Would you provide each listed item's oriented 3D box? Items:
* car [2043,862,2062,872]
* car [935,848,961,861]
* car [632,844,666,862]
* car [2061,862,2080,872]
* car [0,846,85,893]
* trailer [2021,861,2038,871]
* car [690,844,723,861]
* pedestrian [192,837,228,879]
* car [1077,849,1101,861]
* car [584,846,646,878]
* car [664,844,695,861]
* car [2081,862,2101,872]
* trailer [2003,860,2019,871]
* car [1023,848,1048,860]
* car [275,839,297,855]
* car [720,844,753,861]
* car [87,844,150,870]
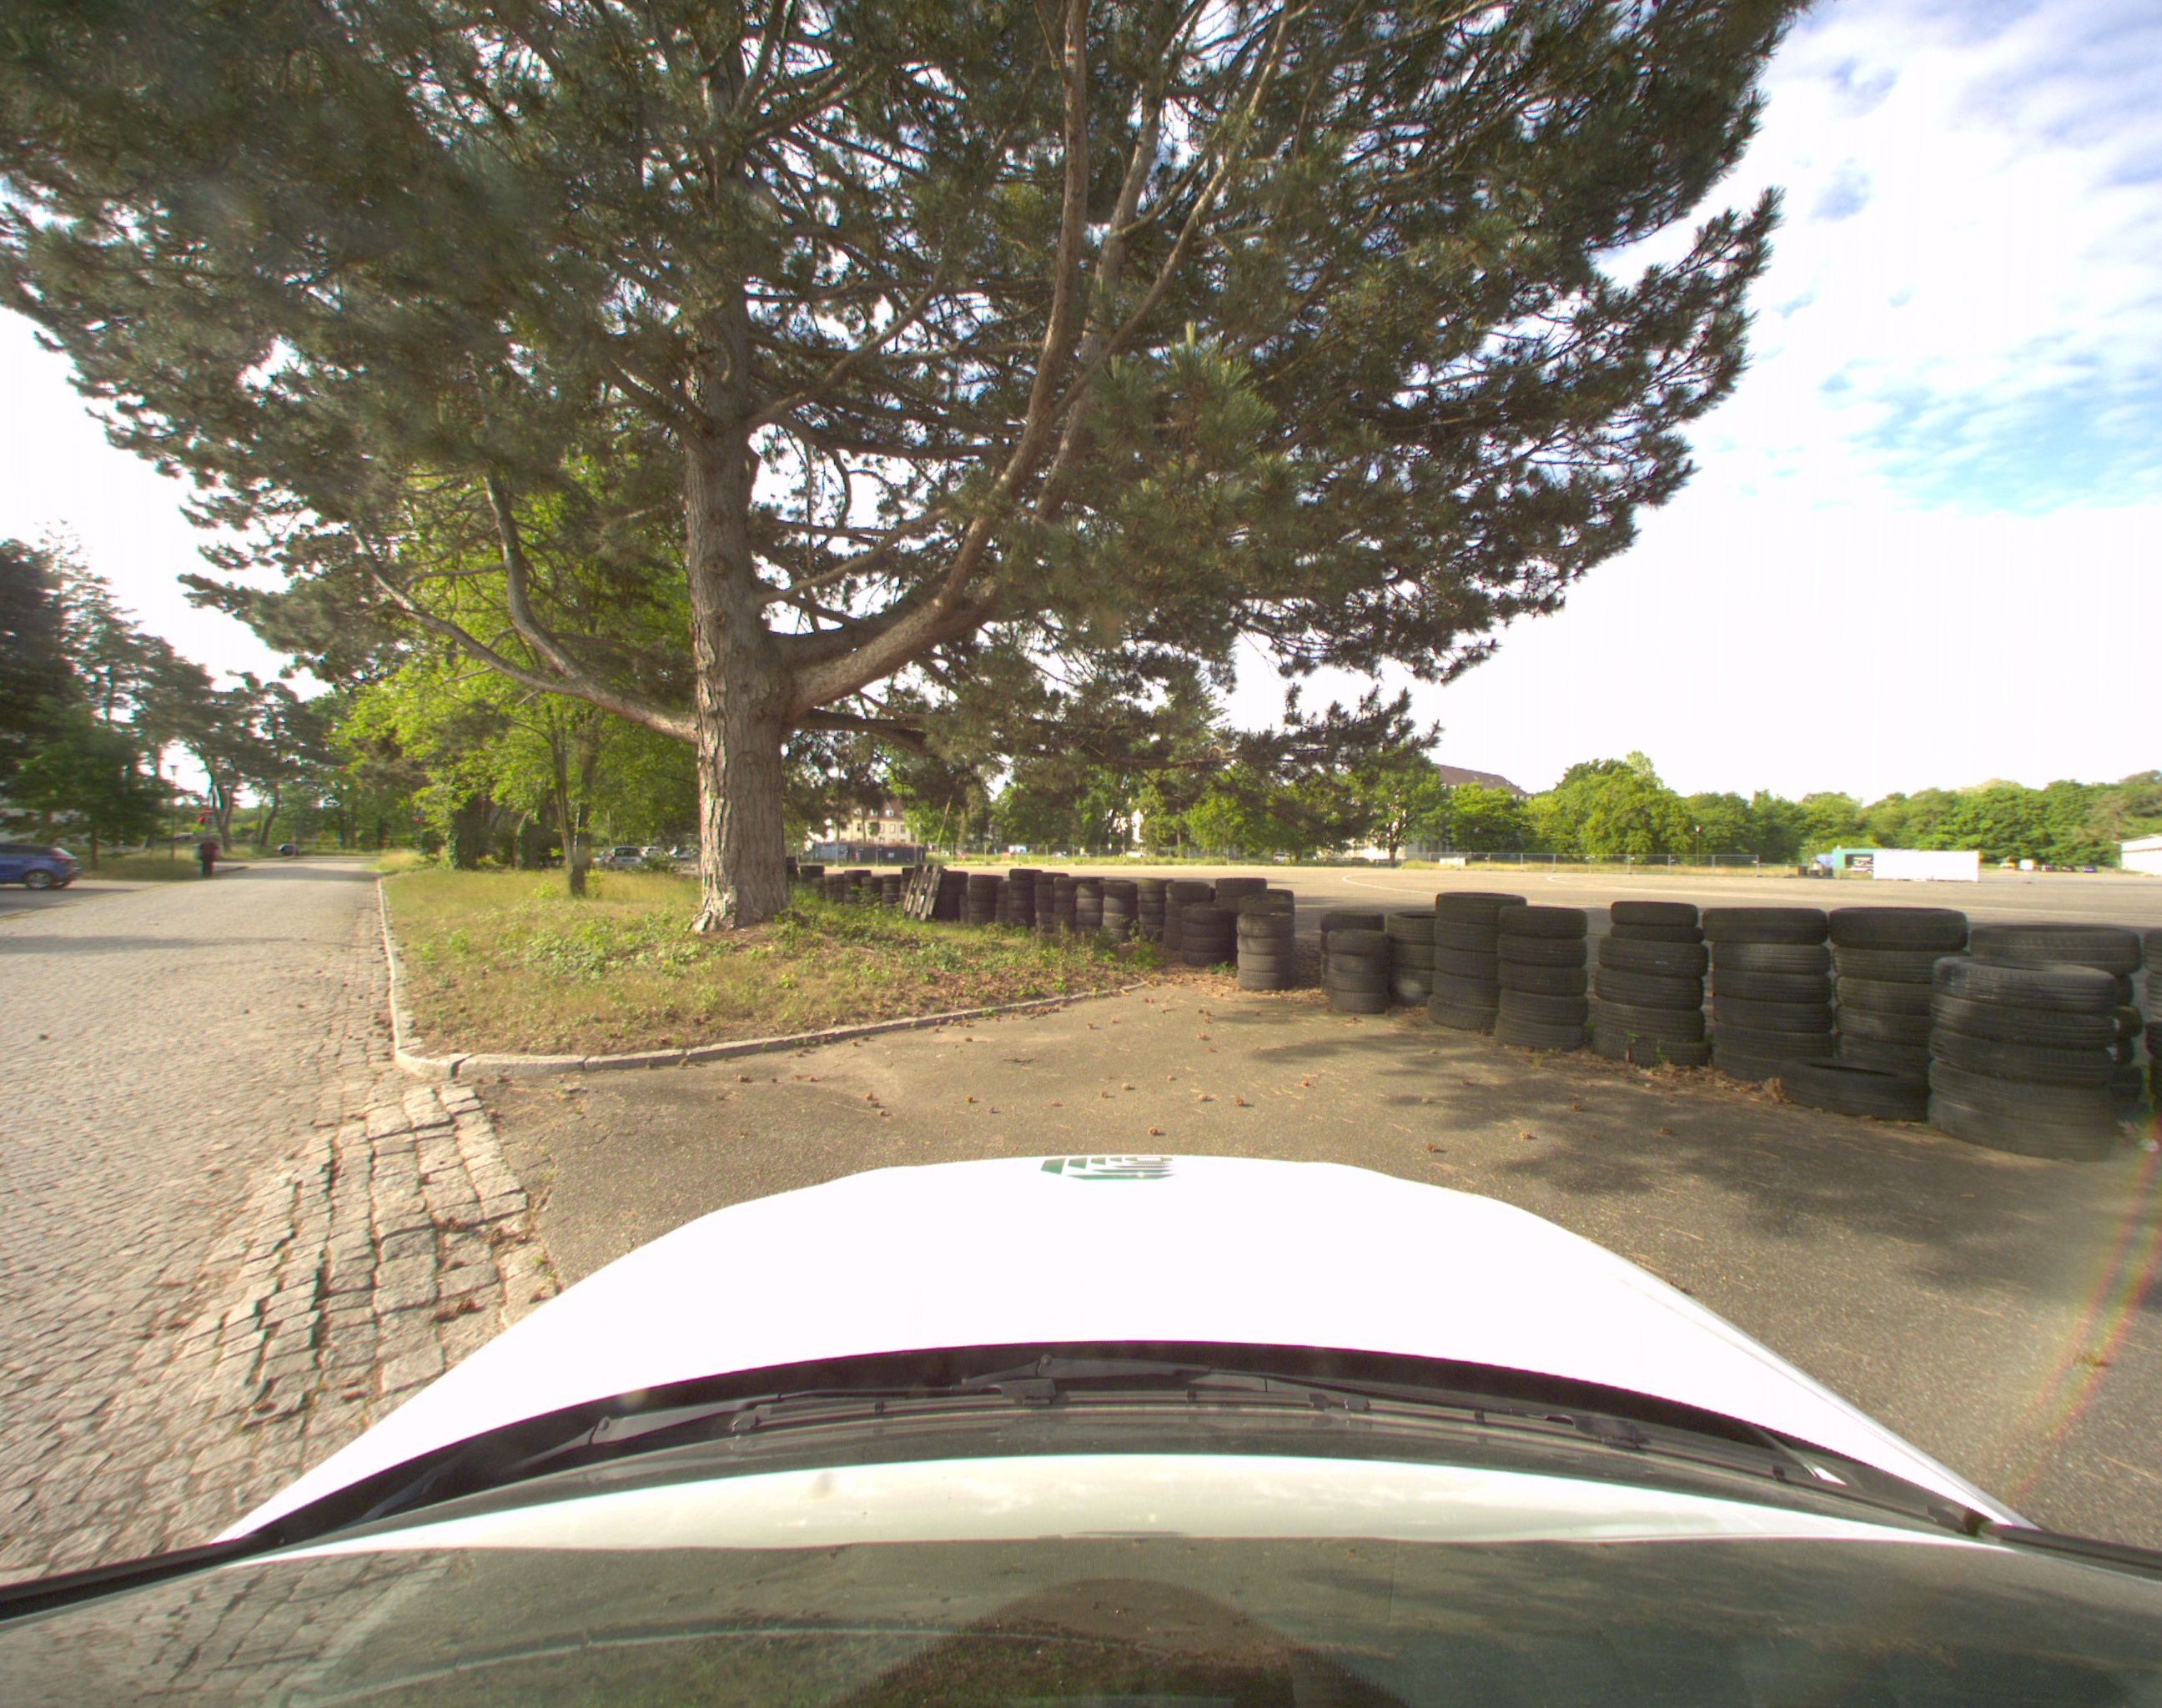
[{"bbox_3d":[189.579,2.512,158.929,4.023,1.750,1.975,1,0,-45],"label":"car"},{"bbox_3d":[-18.157,0.001,111.210,2.009,1.750,3.956,0,0,-36],"label":"car"},{"bbox_3d":[-40.449,-0.134,76.178,2.010,1.618,3.953,0,0,-41],"label":"car"},{"bbox_3d":[191.216,2.502,157.375,4.023,1.808,2.013,0,0,-45],"label":"car"},{"bbox_3d":[-34.112,0.470,25.820,1.473,1.450,3.112,0,0,43],"label":"car"},{"bbox_3d":[188.912,2.366,162.163,4.022,2.013,2.040,1,0,-43],"label":"trailer"},{"bbox_3d":[-36.838,-0.145,80.064,2.010,1.618,3.953,0,0,-41],"label":"car"},{"bbox_3d":[-39.035,0.159,36.482,0.943,1.844,0.965,0,0,35],"label":"pedestrian"},{"bbox_3d":[1.303,0.176,127.949,2.007,1.750,3.961,0,0,-31],"label":"car"},{"bbox_3d":[-23.789,0.369,41.548,1.903,1.541,3.952,1,0,-43],"label":"car"},{"bbox_3d":[-38.572,-0.122,78.165,1.836,1.618,3.954,0,0,-39],"label":"car"},{"bbox_3d":[192.892,2.427,155.497,4.023,1.750,1.975,1,0,-45],"label":"car"},{"bbox_3d":[188.282,2.307,164.895,4.022,2.013,1.976,1,0,-44],"label":"trailer"},{"bbox_3d":[-6.759,-0.045,121.119,2.008,1.750,3.958,0,0,-34],"label":"car"},{"bbox_3d":[-102.725,-0.944,105.248,1.712,2.013,3.953,1,0,-41],"label":"car"},{"bbox_3d":[-34.811,-0.143,82.244,2.010,1.618,3.953,0,0,-41],"label":"car"},{"bbox_3d":[-62.144,0.192,52.640,2.010,1.618,3.953,0,0,-41],"label":"car"}]
